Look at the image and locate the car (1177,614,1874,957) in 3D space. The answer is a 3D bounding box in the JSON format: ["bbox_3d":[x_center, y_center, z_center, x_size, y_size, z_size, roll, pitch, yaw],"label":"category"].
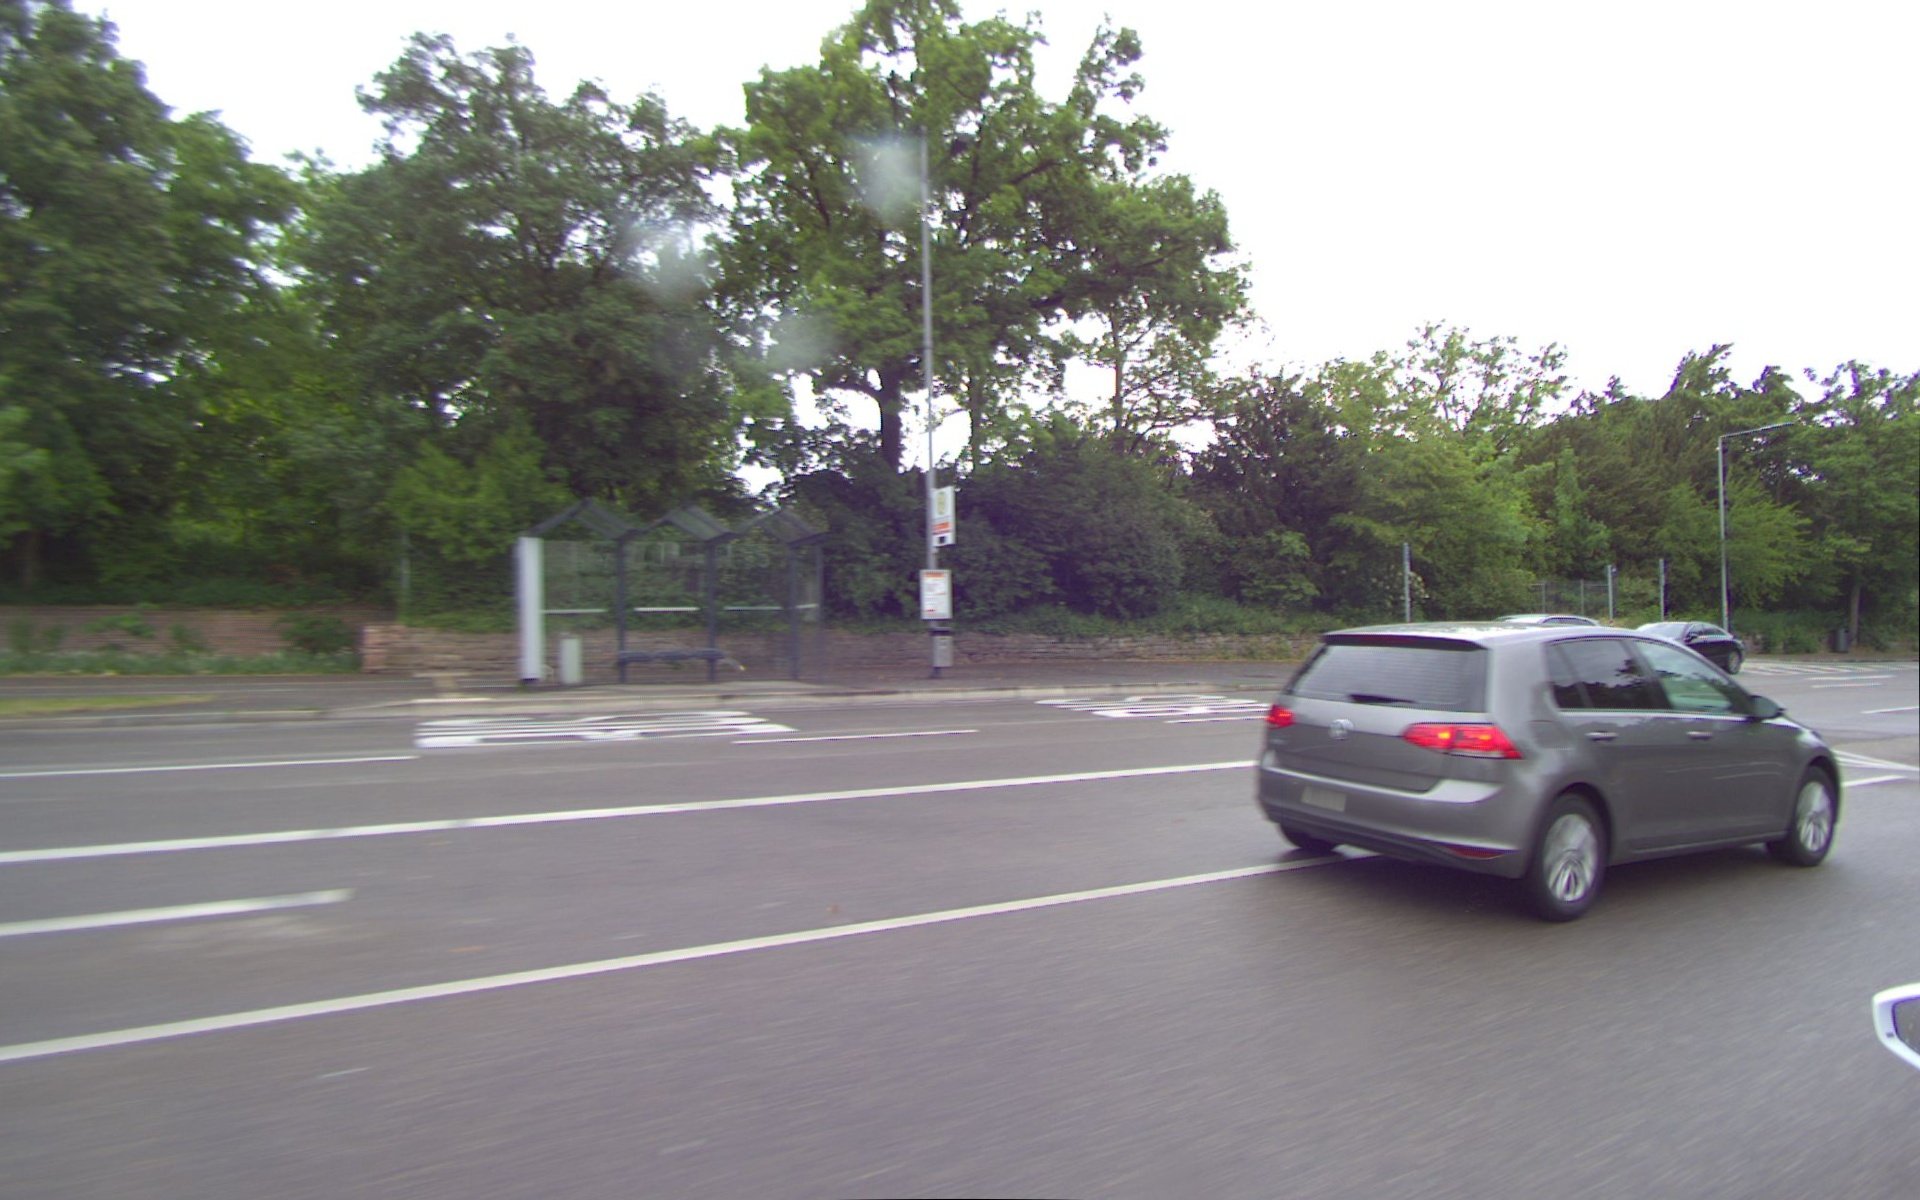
[{"bbox_3d":[3.596,0.869,6.233,4.245,1.460,1.863,2,-1,-30],"label":"car"}]

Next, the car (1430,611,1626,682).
[{"bbox_3d":[14.089,1.115,24.870,4.864,1.610,1.834,1,-1,-27],"label":"car"}]

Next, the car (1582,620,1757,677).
[{"bbox_3d":[19.367,1.291,27.387,4.720,1.433,1.899,1,-1,-27],"label":"car"}]
